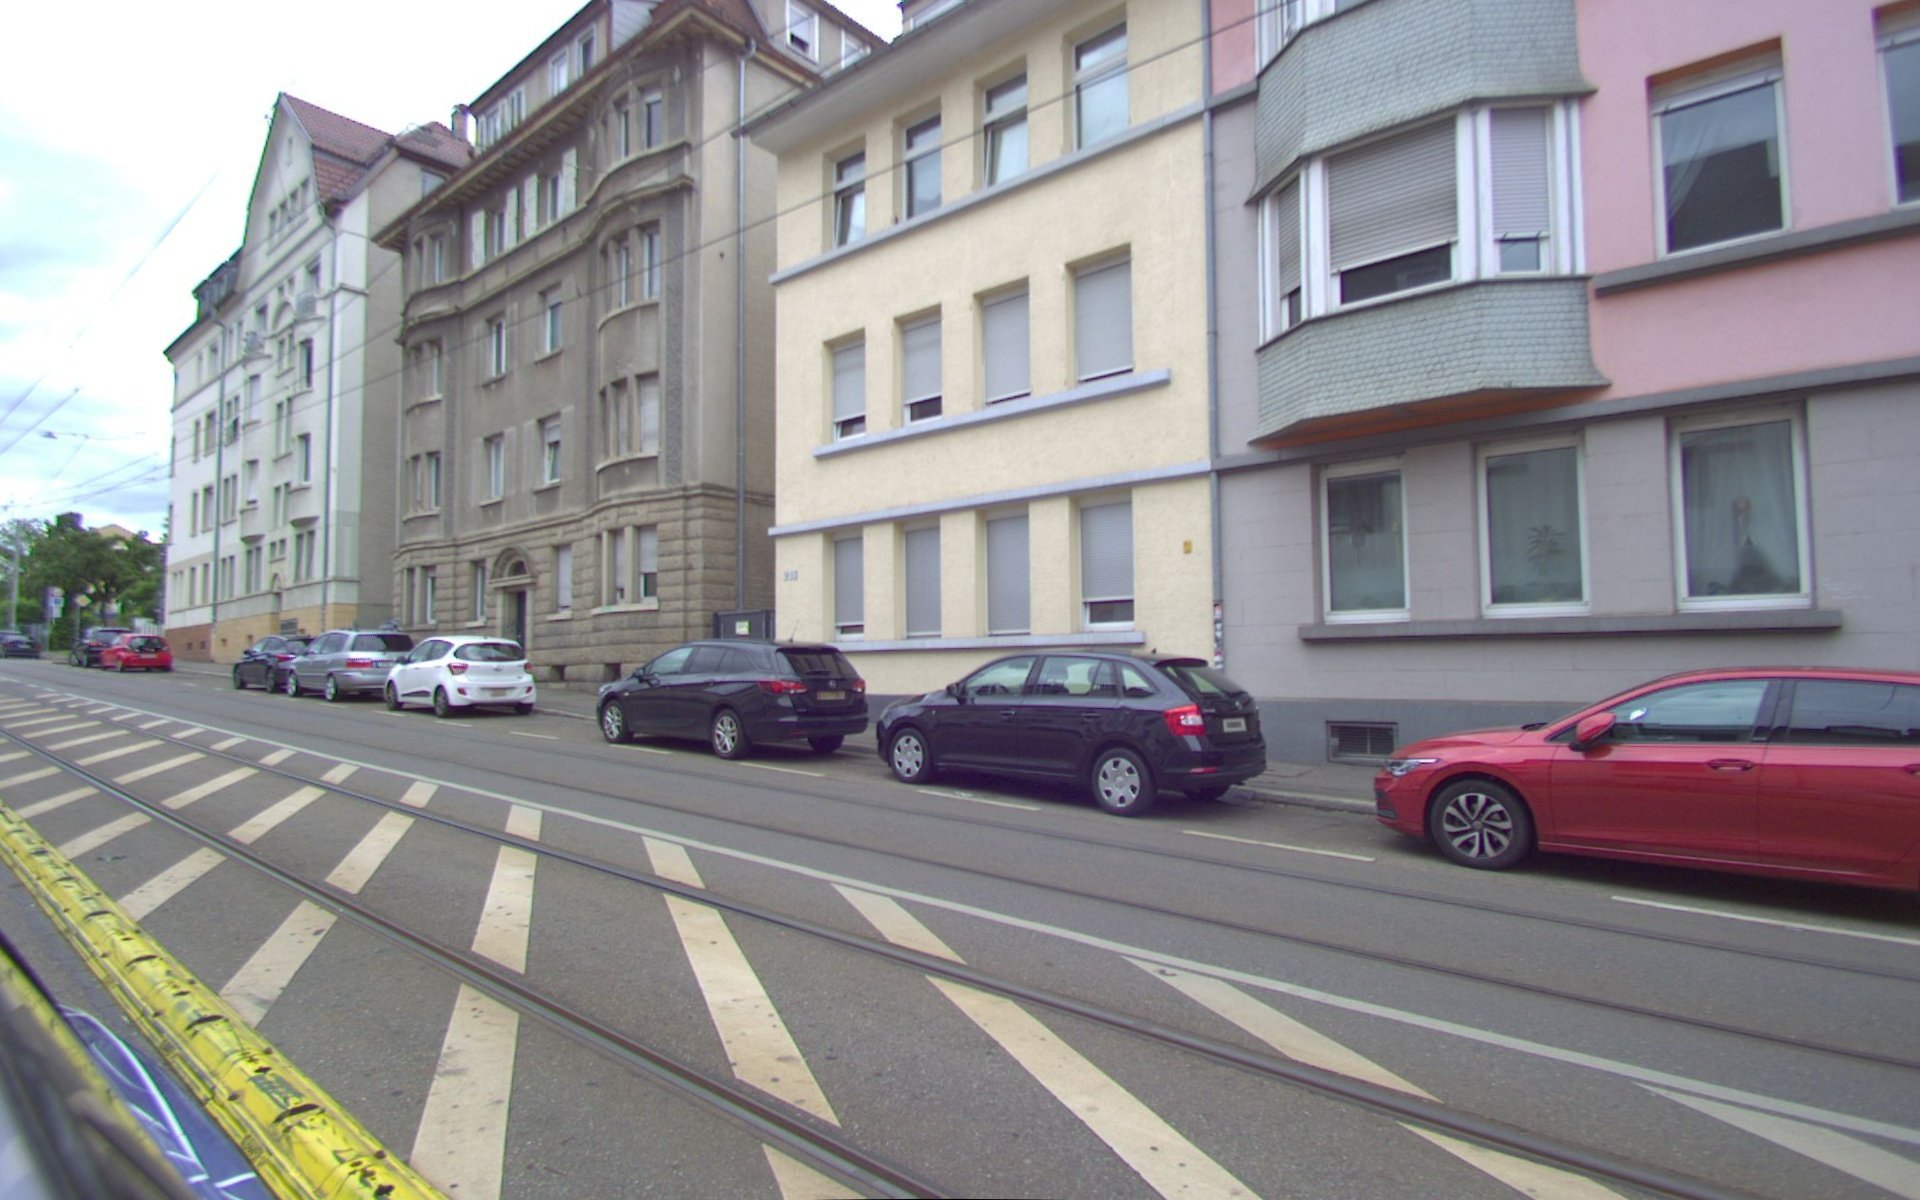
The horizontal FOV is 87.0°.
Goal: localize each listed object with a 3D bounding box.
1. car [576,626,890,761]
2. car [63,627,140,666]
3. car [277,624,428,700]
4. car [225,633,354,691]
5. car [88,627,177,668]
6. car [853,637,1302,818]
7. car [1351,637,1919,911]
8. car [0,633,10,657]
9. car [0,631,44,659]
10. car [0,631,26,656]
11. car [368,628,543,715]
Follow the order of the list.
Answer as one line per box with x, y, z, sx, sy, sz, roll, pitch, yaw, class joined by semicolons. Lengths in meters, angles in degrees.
-3.179;1.155;13.631;4.524;1.522;1.766;-1;-5;41;car
-35.985;1.922;42.398;3.949;1.537;1.721;-1;-5;40;car
-14.046;1.364;23.316;4.140;1.579;1.721;-1;-2;40;car
-17.503;1.558;26.358;4.042;1.392;1.721;-1;-3;40;car
-32.082;1.842;39.227;3.945;1.470;1.722;-1;-4;37;car
1.029;1.128;10.180;4.239;1.421;1.766;-1;-5;41;car
5.061;1.020;6.731;4.259;1.450;1.766;-1;-5;41;car
-64.736;2.945;67.308;3.949;1.537;1.721;-1;-5;40;car
-55.089;2.589;59.129;3.949;1.537;1.721;-1;-5;40;car
-59.924;2.690;63.284;3.950;1.537;1.720;-1;-5;41;car
-9.883;1.323;19.730;3.799;1.522;1.720;-1;-3;41;car
